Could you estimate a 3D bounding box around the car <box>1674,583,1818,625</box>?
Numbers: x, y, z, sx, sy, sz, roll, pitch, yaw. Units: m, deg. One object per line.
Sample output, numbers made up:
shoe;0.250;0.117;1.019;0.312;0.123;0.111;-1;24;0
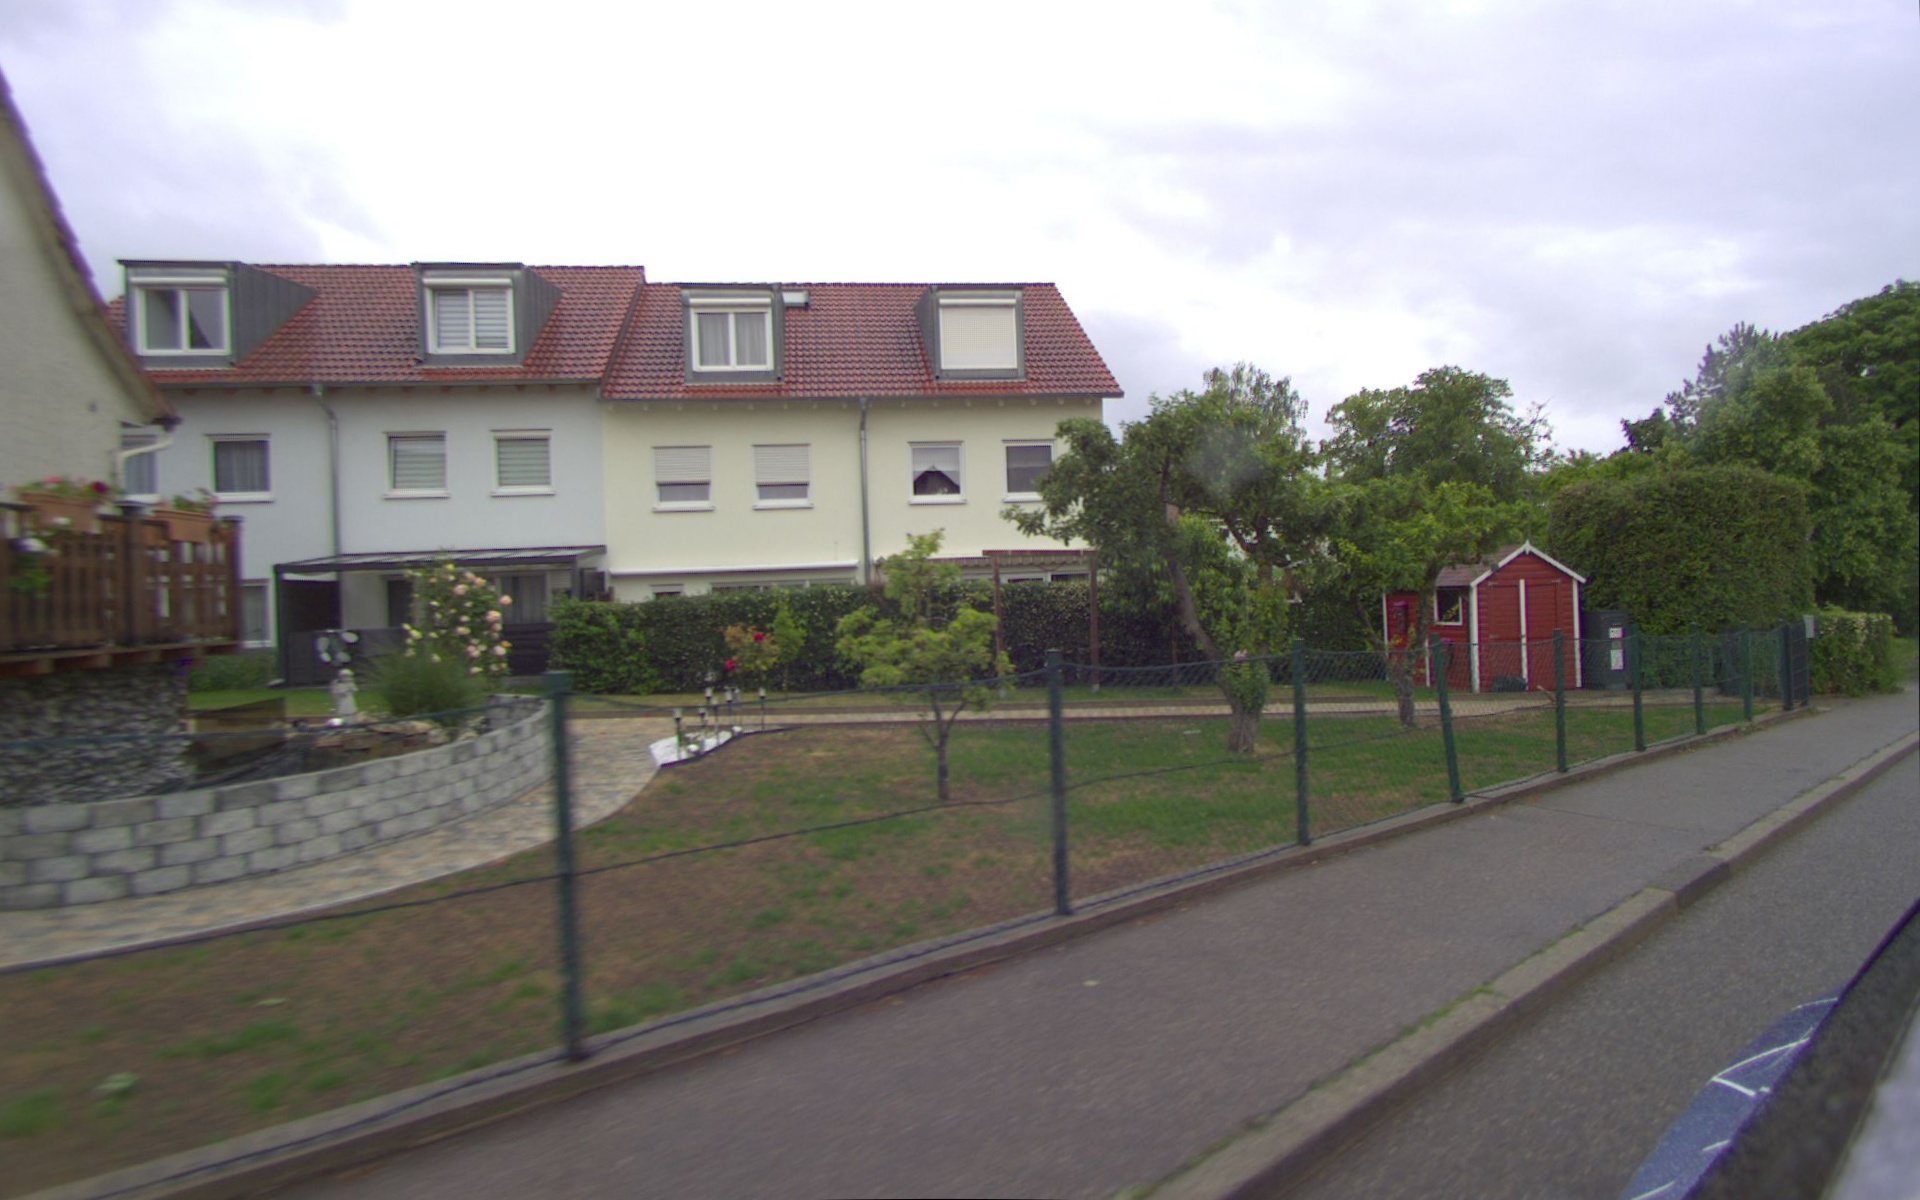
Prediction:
car;29.911;0.121;38.672;1.815;1.473;4.009;1;1;-17
